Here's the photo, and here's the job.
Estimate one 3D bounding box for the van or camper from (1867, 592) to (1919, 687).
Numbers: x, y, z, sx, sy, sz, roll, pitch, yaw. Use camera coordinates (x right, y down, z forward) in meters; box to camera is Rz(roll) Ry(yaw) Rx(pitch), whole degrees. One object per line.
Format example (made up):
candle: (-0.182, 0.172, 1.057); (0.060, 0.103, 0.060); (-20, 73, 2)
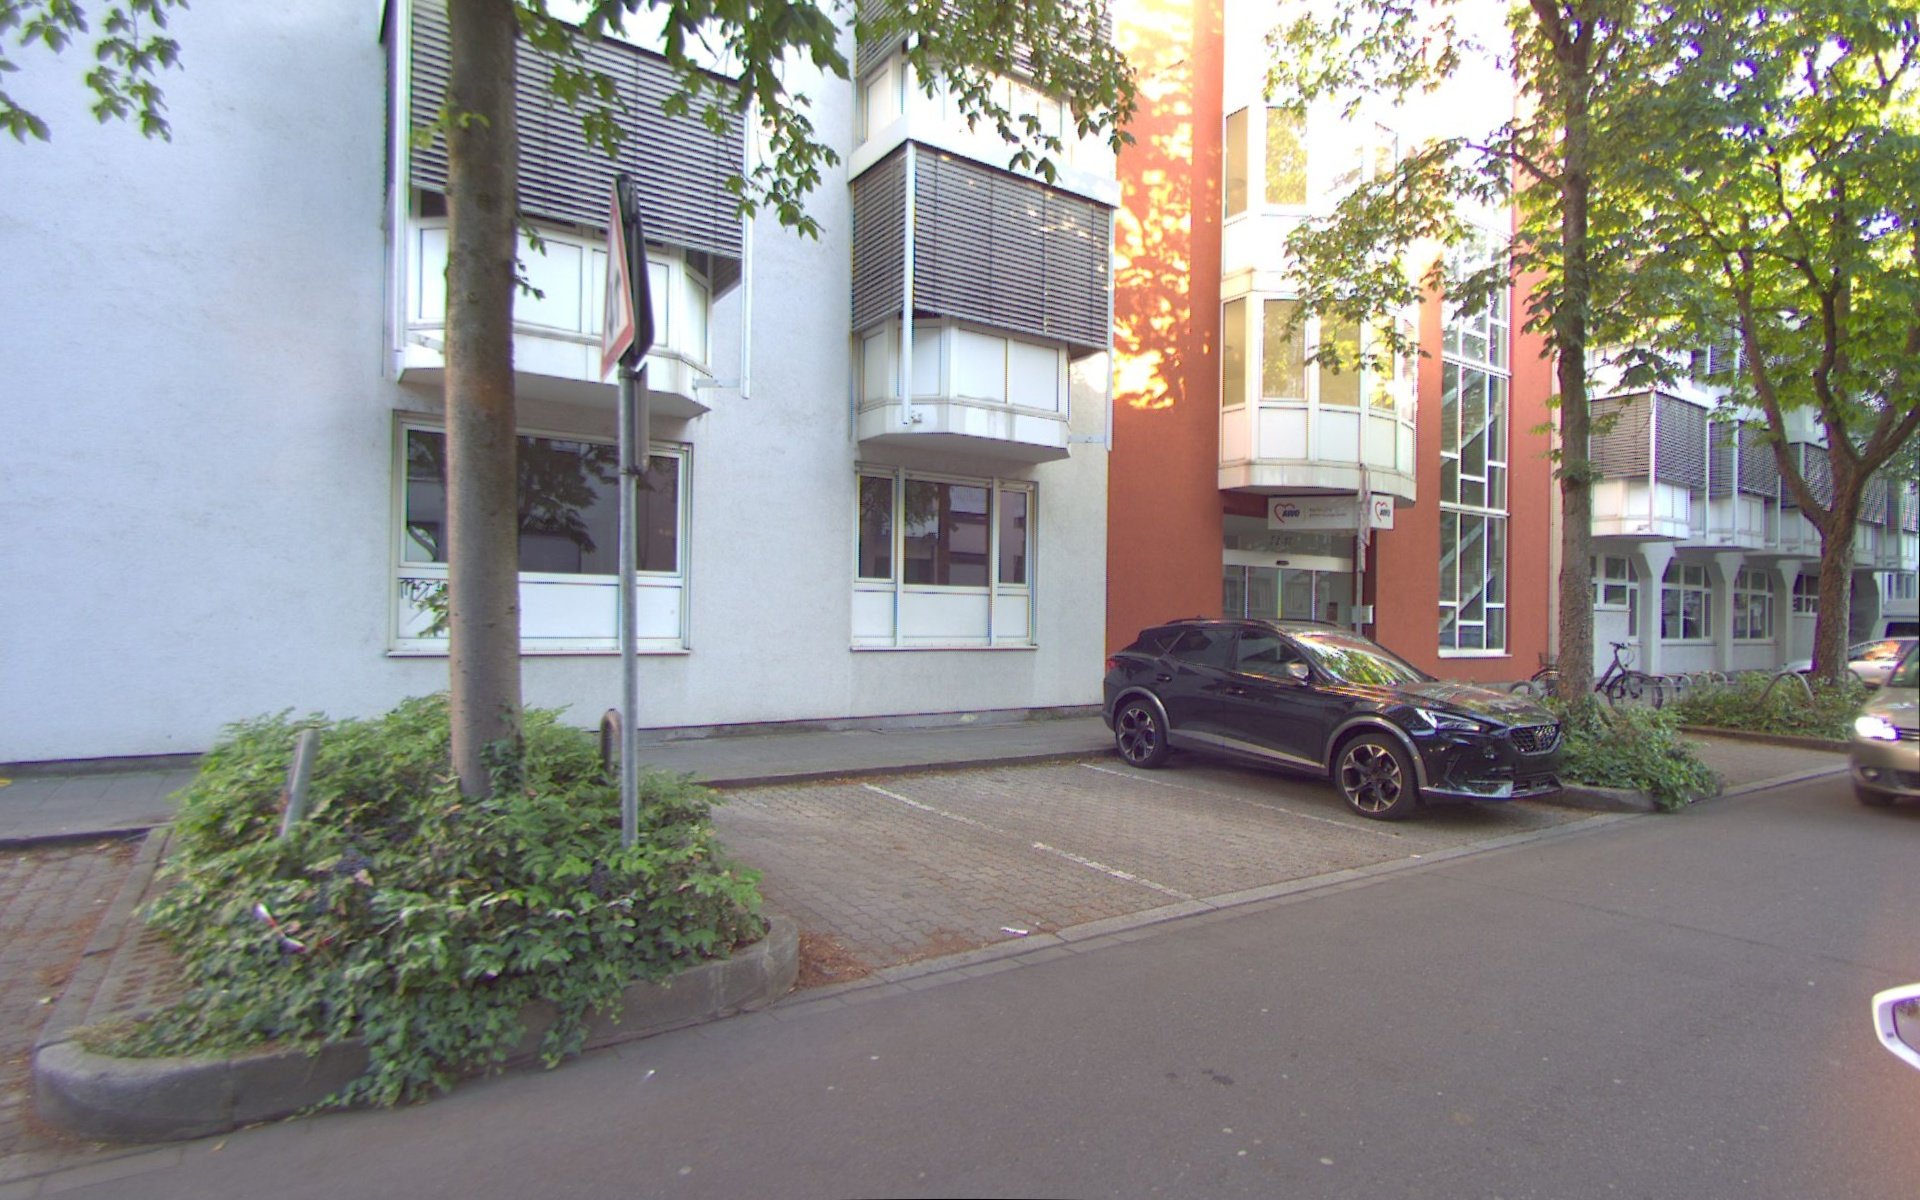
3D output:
van or camper: (26.937, 1.068, 26.148); (1.979, 2.511, 4.635); (1, -1, -34)

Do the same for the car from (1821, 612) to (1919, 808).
car: (9.630, 0.936, 9.101); (4.125, 1.583, 1.768); (1, -1, -34)

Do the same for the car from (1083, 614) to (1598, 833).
car: (3.247, 0.923, 9.445); (1.766, 1.537, 4.328); (1, -1, -34)

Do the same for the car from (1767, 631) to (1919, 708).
car: (20.057, 1.473, 21.557); (1.766, 1.537, 3.945); (1, -1, -33)
